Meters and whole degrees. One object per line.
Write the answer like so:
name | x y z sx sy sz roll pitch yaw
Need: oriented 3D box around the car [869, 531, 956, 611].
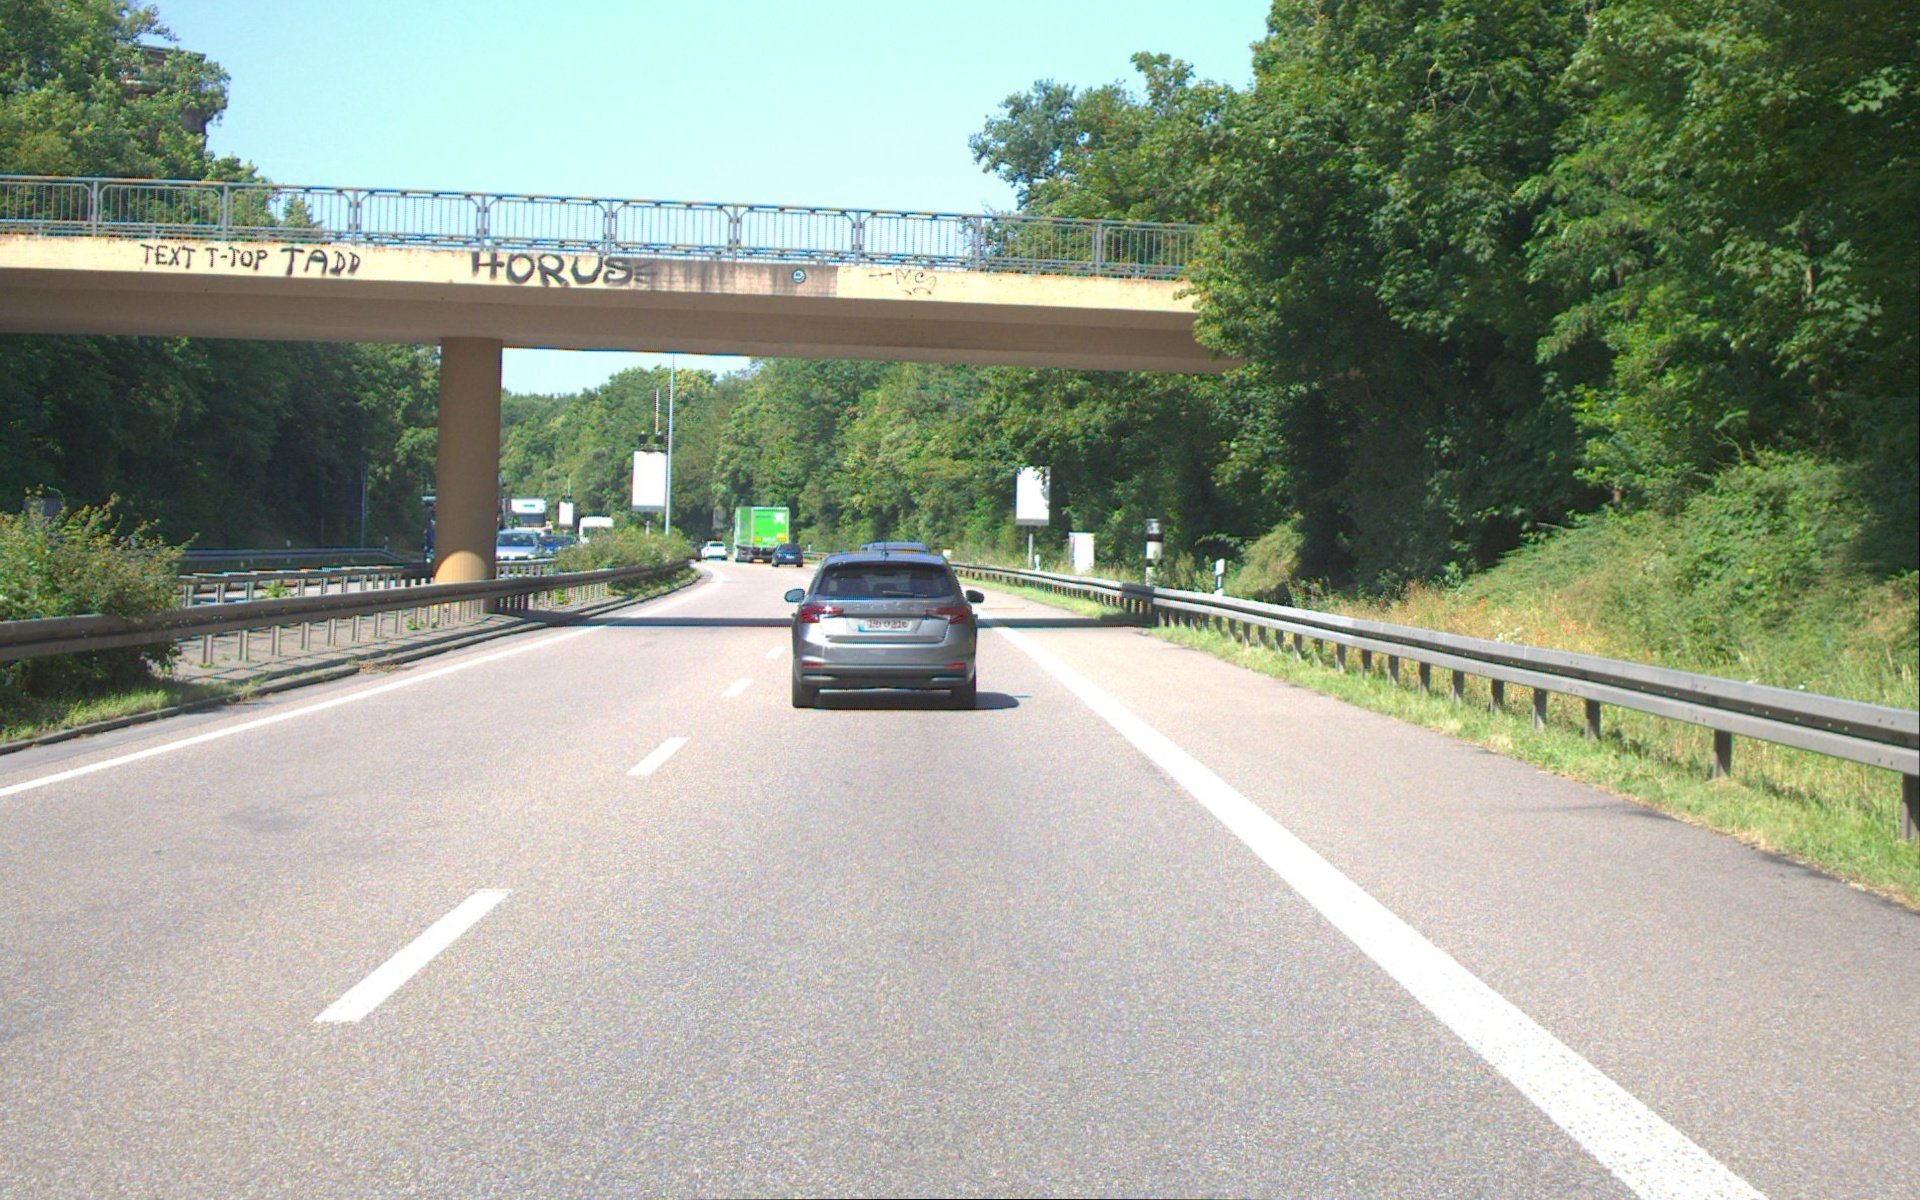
car | -0.877 -0.571 65.055 1.522 1.441 3.340 1 1 1

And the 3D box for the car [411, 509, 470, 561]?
car | -20.748 -2.590 137.431 1.779 2.007 4.000 1 1 -1

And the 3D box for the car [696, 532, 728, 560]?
car | -17.946 -3.922 248.972 1.993 2.007 4.000 1 1 -1

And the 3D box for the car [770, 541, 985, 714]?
car | -0.712 0.214 32.066 1.840 1.467 3.623 1 1 1

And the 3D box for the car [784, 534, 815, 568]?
car | -9.770 -3.006 209.342 1.763 2.007 3.587 1 1 0

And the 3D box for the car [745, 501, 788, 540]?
car | -13.275 -5.479 236.573 2.748 2.645 4.000 1 1 -1
